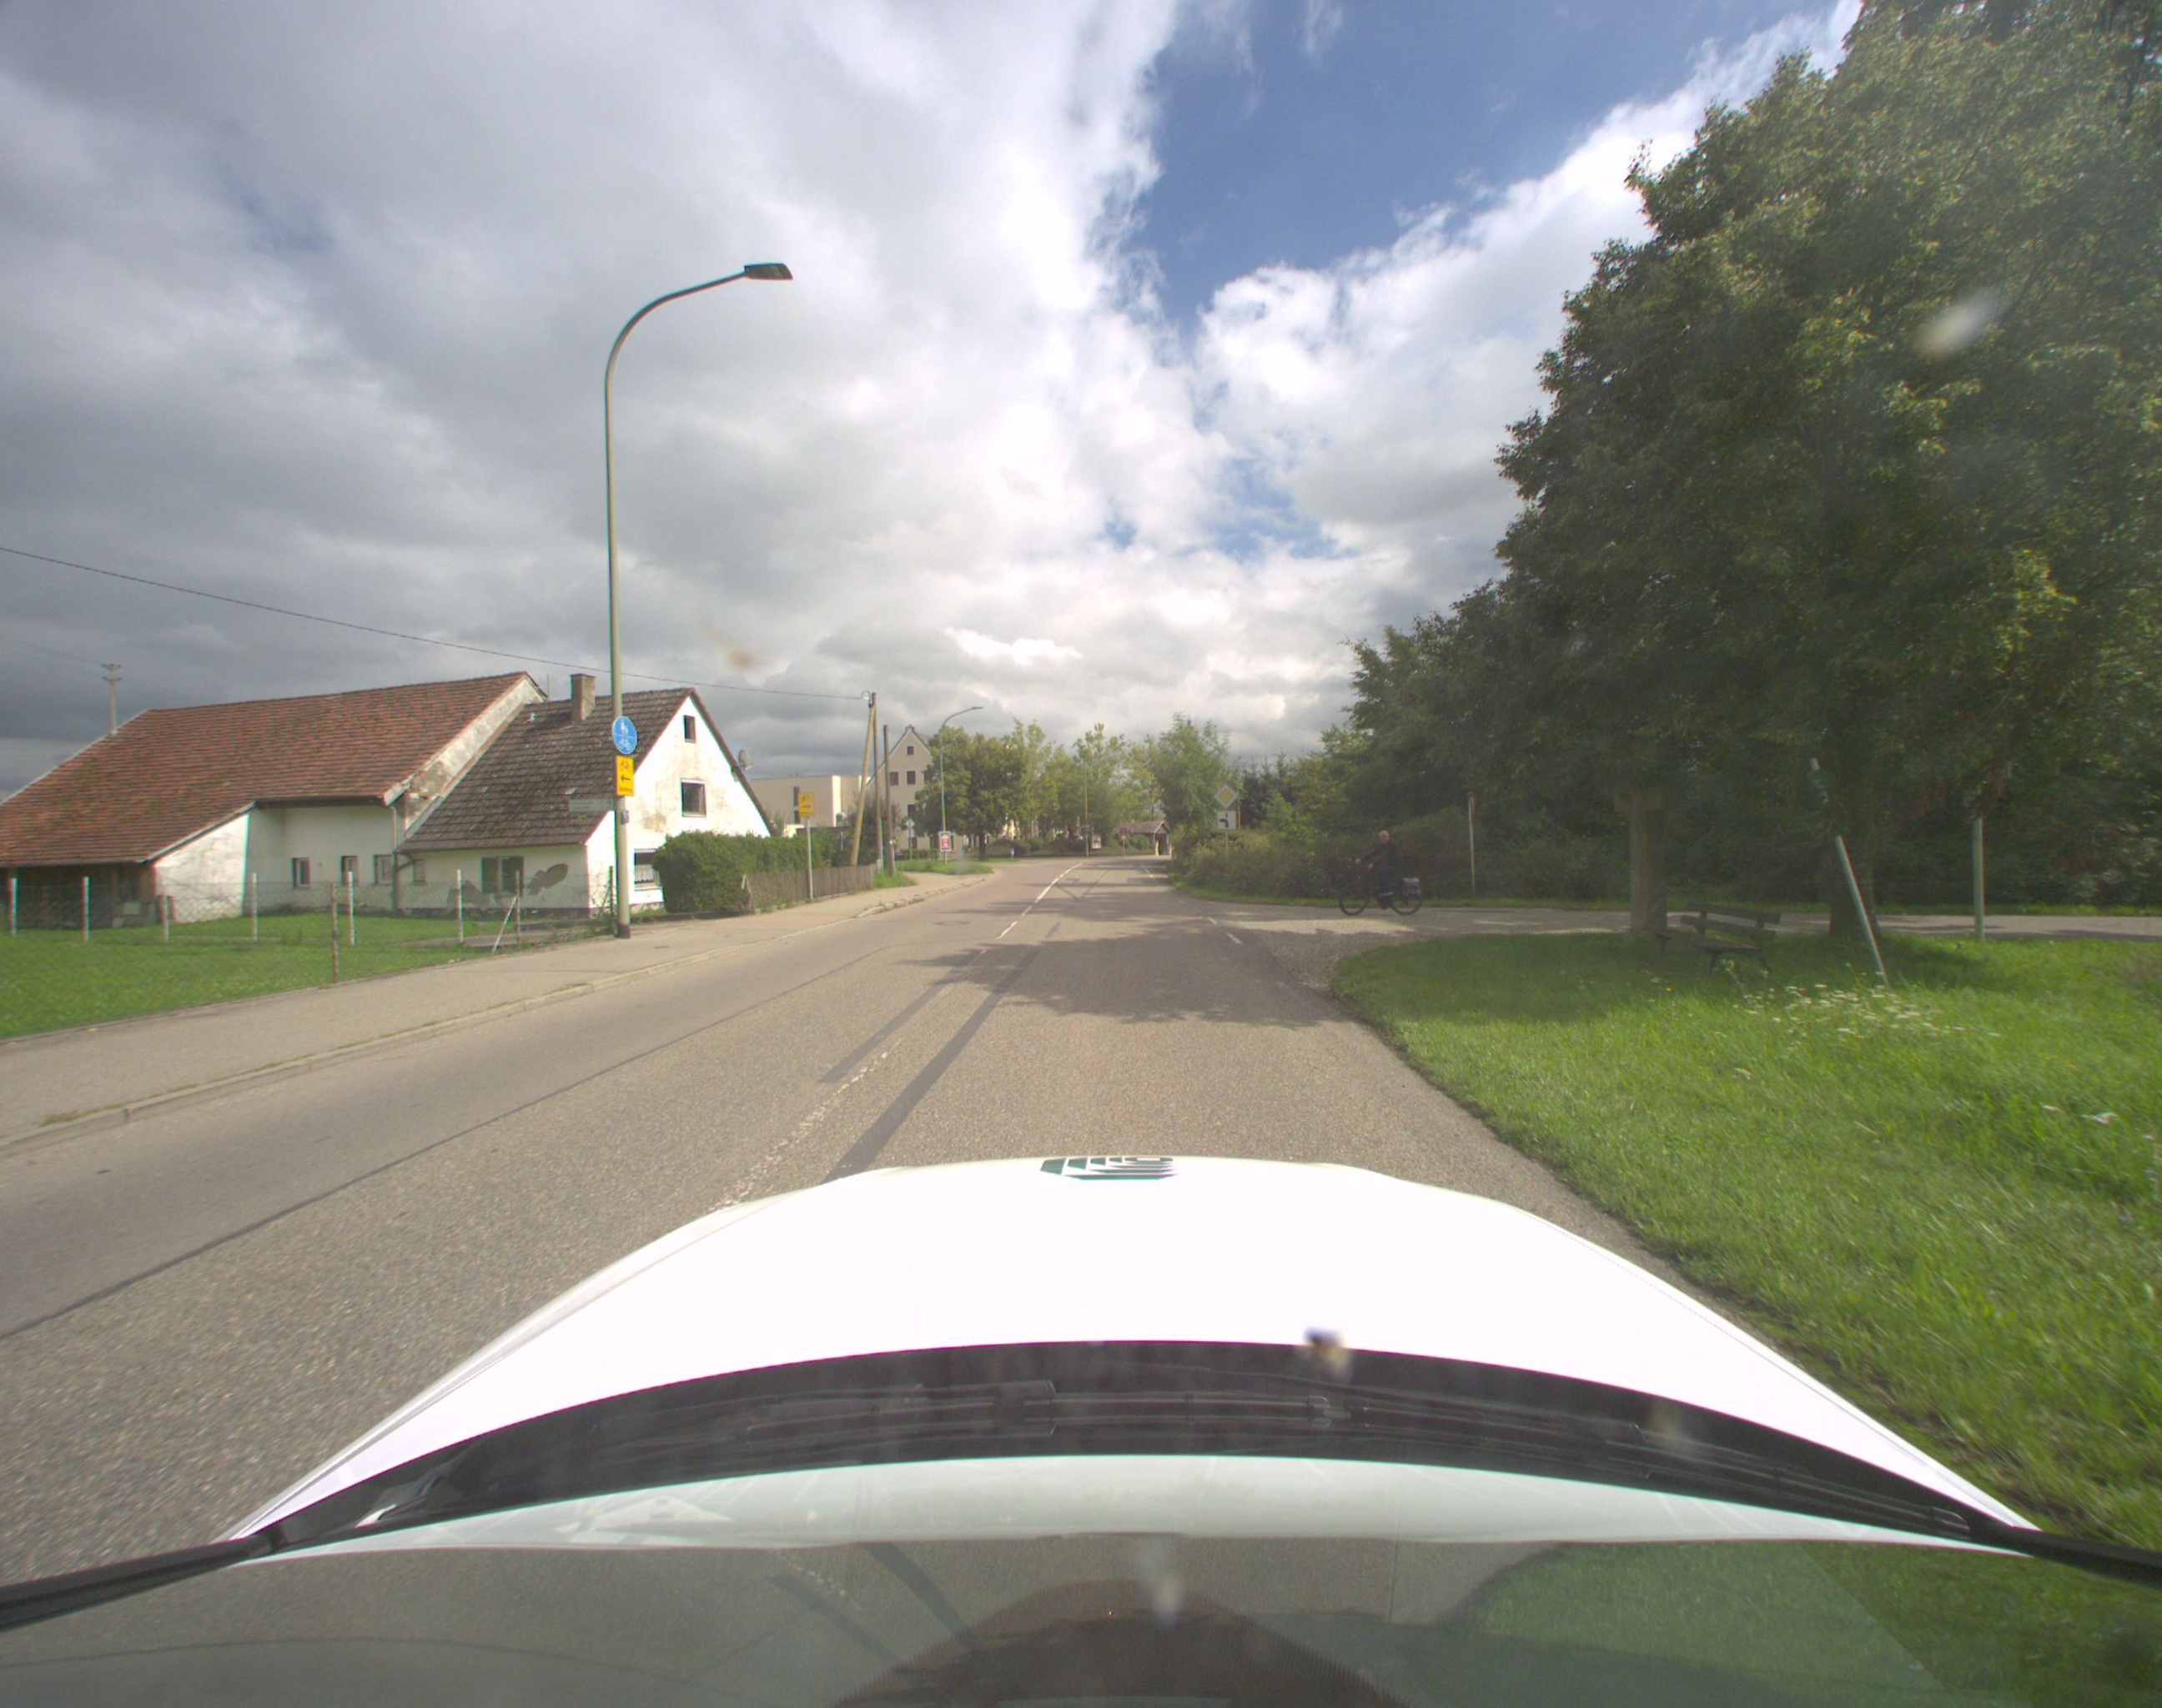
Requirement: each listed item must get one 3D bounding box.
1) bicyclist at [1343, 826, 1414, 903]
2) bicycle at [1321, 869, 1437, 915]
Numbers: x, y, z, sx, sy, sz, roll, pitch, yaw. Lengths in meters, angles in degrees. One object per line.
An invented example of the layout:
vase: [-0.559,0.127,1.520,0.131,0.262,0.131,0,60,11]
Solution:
bicyclist: [6.343,0.213,17.403,1.018,1.585,1.050,0,1,-12]
bicycle: [6.352,0.789,17.413,2.117,0.864,1.050,-1,1,-12]
